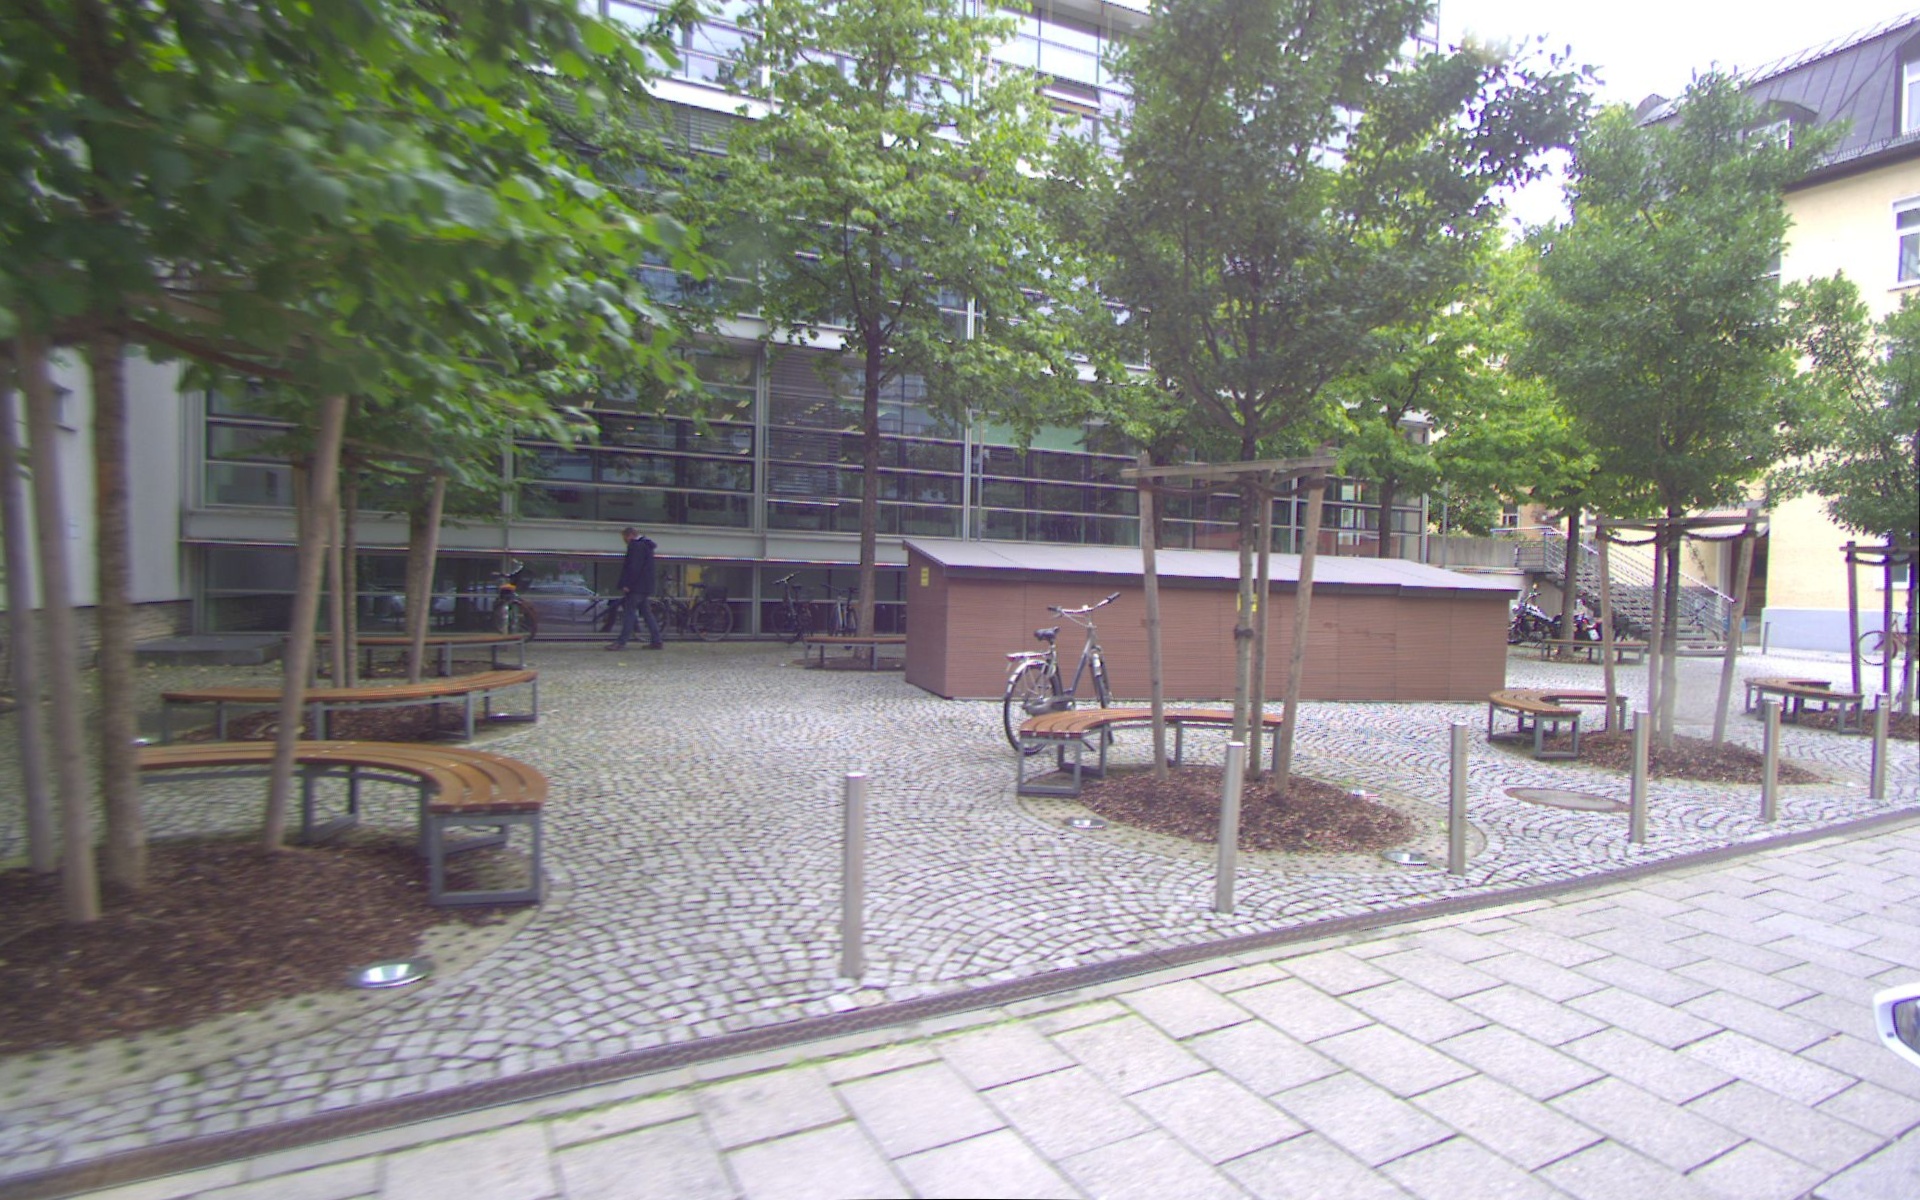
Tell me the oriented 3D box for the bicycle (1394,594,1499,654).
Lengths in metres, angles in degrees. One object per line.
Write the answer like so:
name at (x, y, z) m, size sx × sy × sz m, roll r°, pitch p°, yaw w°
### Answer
bicycle at (10.575, 0.496, 21.924) m, size 0.833 × 1.160 × 2.043 m, roll 1°, pitch 2°, yaw -18°

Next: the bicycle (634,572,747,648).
bicycle at (-4.490, 0.174, 16.752) m, size 1.757 × 1.214 × 0.549 m, roll 1°, pitch 2°, yaw -23°

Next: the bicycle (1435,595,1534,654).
bicycle at (11.637, 0.522, 22.367) m, size 0.630 × 1.160 × 2.043 m, roll 1°, pitch 2°, yaw -18°

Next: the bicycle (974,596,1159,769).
bicycle at (0.899, 0.583, 8.009) m, size 0.543 × 1.214 × 1.830 m, roll 3°, pitch 2°, yaw 38°

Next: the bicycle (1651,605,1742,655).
bicycle at (17.705, 0.710, 24.179) m, size 0.589 × 1.083 × 1.651 m, roll 1°, pitch 2°, yaw -24°

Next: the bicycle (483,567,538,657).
bicycle at (-6.513, 0.137, 14.619) m, size 0.680 × 1.214 × 1.772 m, roll 1°, pitch 2°, yaw -23°

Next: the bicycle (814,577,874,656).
bicycle at (-1.959, 0.247, 16.728) m, size 0.544 × 1.214 × 1.773 m, roll 1°, pitch 2°, yaw -21°

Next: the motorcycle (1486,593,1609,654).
motorcycle at (13.484, 0.509, 23.166) m, size 0.747 × 1.261 × 2.496 m, roll 1°, pitch 2°, yaw -21°

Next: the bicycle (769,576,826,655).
bicycle at (-2.701, 0.226, 16.588) m, size 0.544 × 1.214 × 1.773 m, roll 1°, pitch 2°, yaw -21°

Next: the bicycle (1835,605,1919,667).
bicycle at (19.695, 0.753, 21.018) m, size 0.561 × 1.214 × 2.039 m, roll 1°, pitch 2°, yaw -21°

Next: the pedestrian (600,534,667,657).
pedestrian at (-4.912, -0.066, 15.104) m, size 0.910 × 1.801 × 0.675 m, roll 1°, pitch 2°, yaw -20°
